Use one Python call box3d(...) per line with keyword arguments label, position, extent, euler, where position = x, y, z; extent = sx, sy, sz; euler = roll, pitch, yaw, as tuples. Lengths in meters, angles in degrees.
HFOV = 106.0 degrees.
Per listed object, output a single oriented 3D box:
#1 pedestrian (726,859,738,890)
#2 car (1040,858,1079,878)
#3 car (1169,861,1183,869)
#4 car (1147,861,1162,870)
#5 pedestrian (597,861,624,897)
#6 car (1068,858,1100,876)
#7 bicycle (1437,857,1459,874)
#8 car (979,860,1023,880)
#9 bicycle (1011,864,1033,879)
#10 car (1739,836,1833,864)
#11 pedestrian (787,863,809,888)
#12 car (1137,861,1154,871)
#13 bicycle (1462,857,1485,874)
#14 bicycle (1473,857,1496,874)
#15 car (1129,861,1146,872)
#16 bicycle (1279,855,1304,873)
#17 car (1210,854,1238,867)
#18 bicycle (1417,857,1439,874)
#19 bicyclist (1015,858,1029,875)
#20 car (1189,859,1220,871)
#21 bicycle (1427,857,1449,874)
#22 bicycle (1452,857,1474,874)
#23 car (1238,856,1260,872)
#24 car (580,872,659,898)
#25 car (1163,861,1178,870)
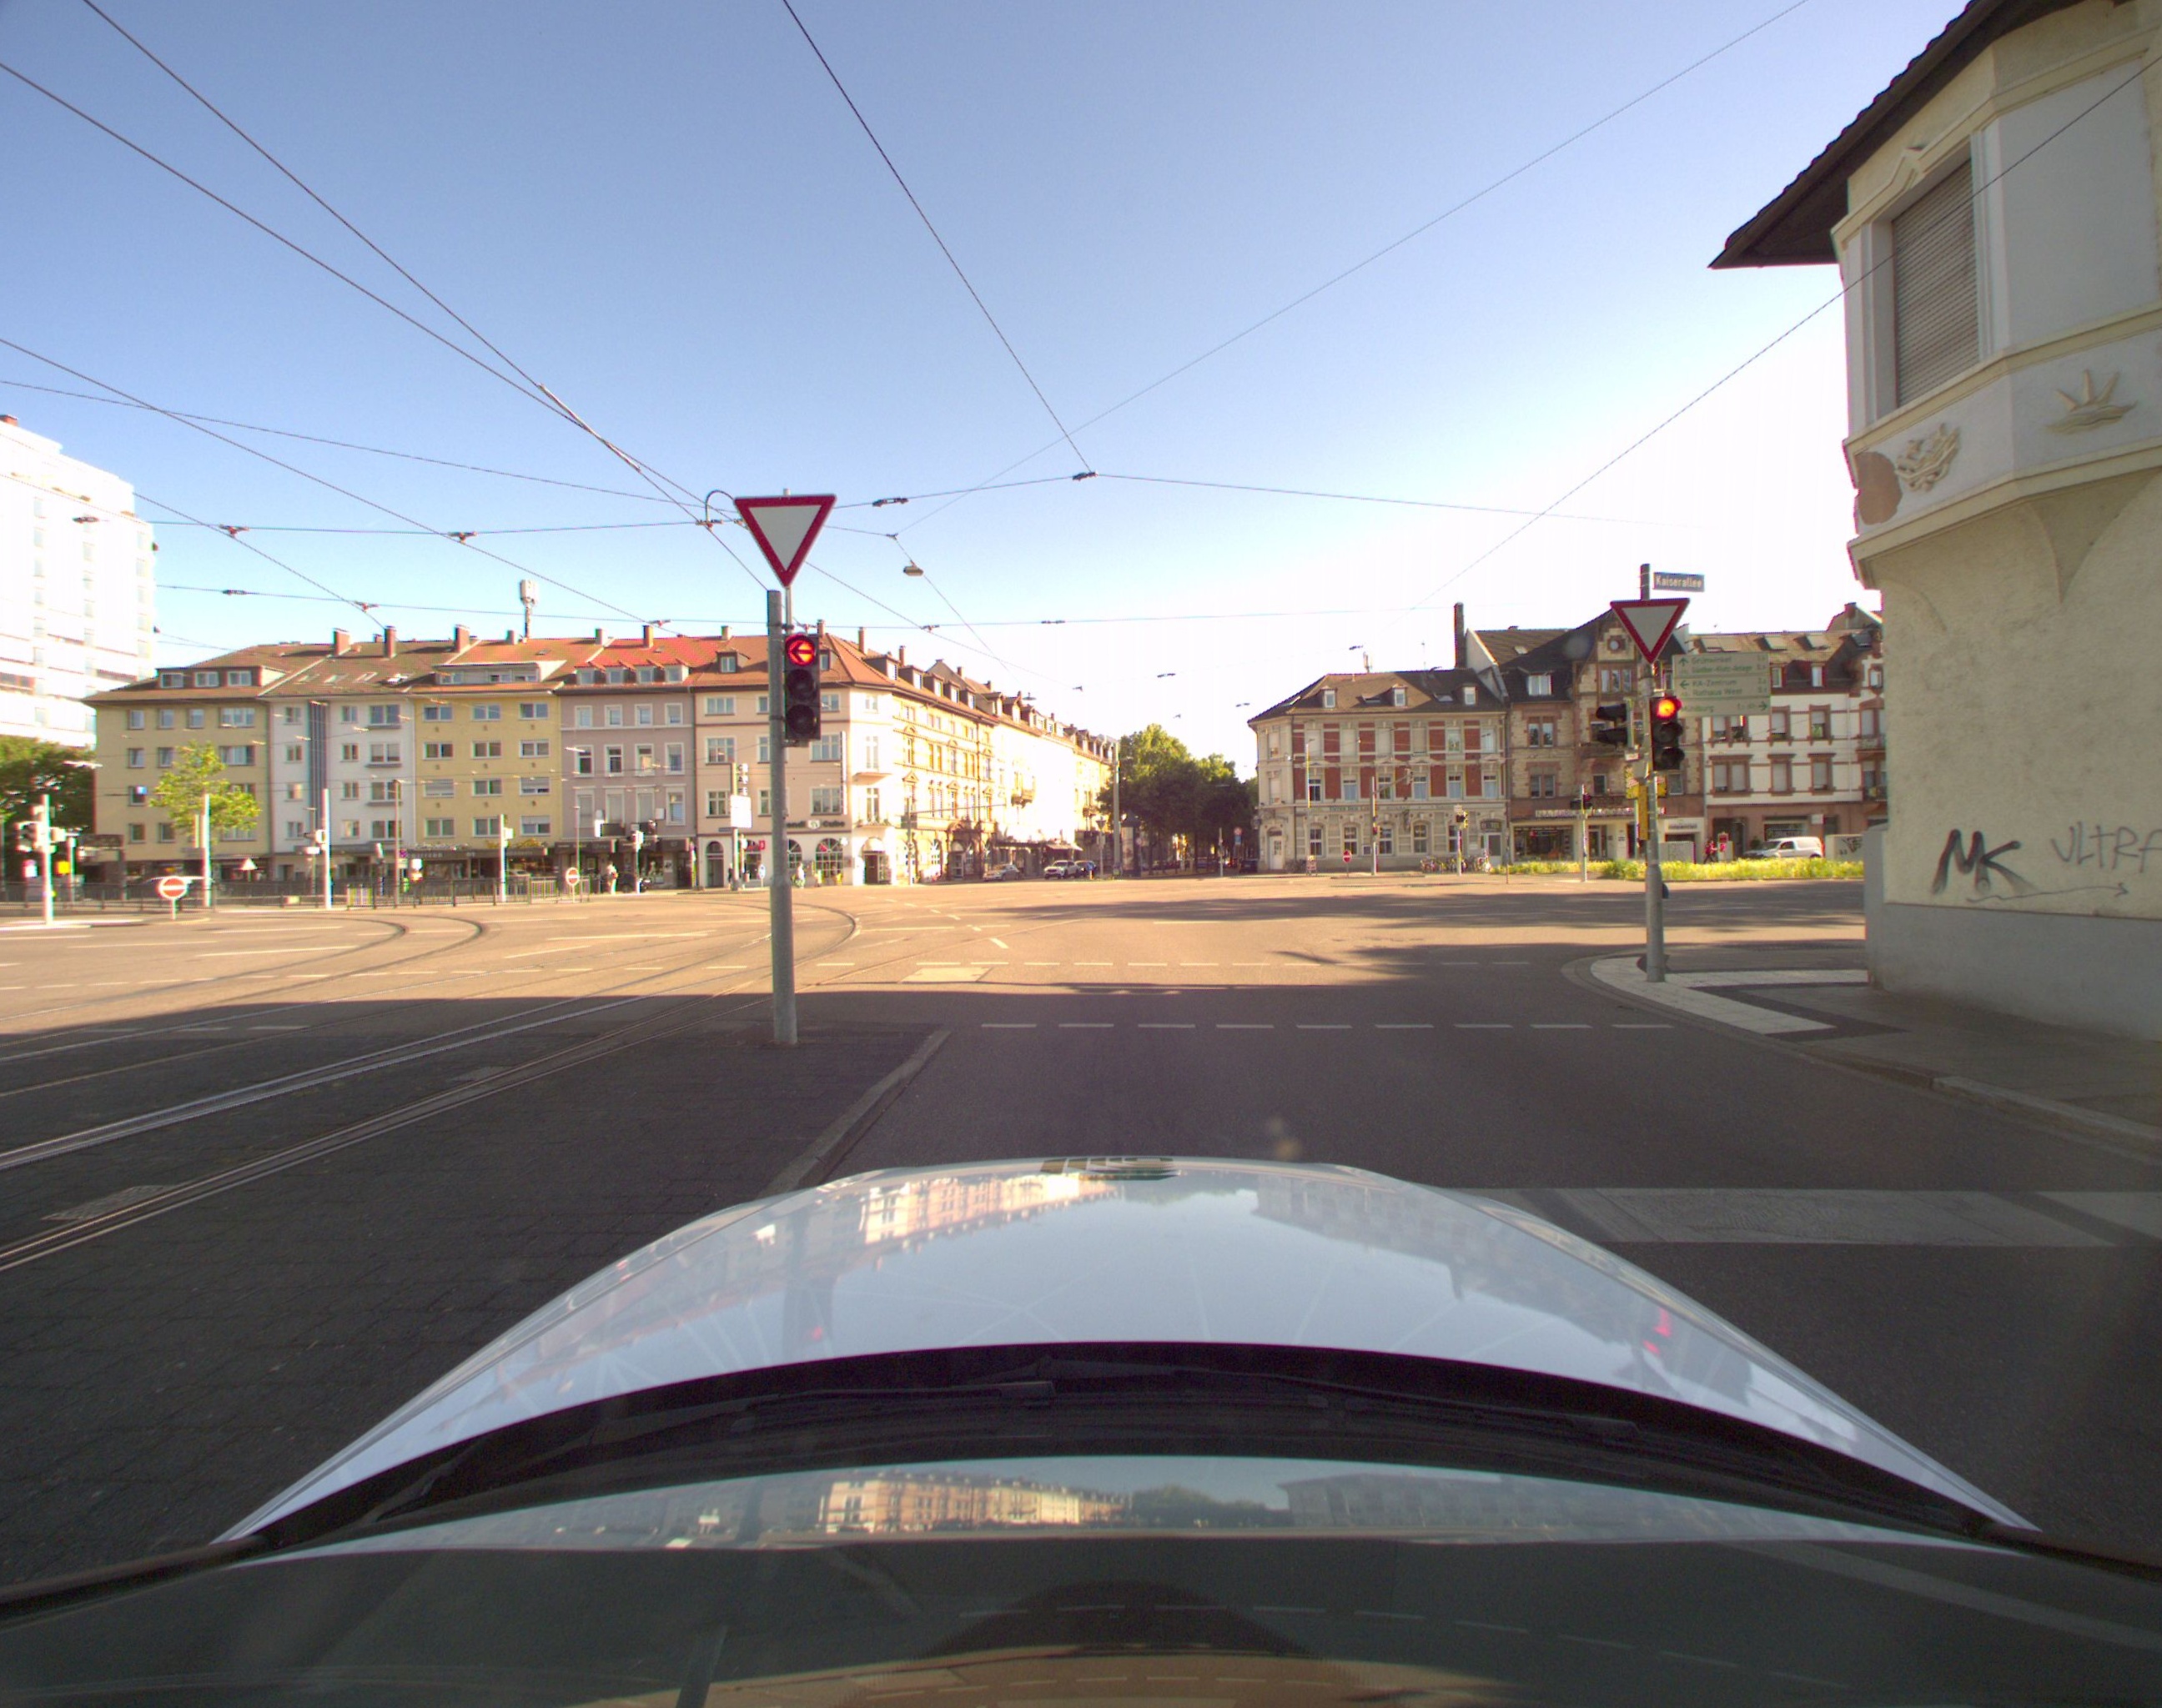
box3d(label="pedestrian", position=(-22.773, 1.357, 53.120), extent=(0.506, 2.013, 0.505), euler=(-1, 0, 5))
box3d(label="car", position=(-1.725, 1.163, 67.366), extent=(2.080, 1.499, 4.017), euler=(-1, 0, 16))
box3d(label="car", position=(15.872, 1.832, 136.200), extent=(1.728, 1.397, 4.141), euler=(1, 0, 16))
box3d(label="car", position=(11.071, 1.726, 122.706), extent=(1.729, 1.397, 4.137), euler=(1, 0, 12))
box3d(label="pedestrian", position=(-24.566, 1.310, 42.554), extent=(0.871, 1.818, 0.811), euler=(-1, 0, 2))
box3d(label="car", position=(0.297, 1.151, 73.689), extent=(1.979, 1.513, 4.015), euler=(-1, 0, 14))
box3d(label="bicycle", position=(23.818, 0.732, 52.866), extent=(0.603, 1.051, 1.641), euler=(-1, 0, -3))
box3d(label="car", position=(-6.592, 1.303, 67.696), extent=(2.080, 1.545, 4.382), euler=(-1, 0, 16))
box3d(label="bicycle", position=(-4.764, 1.430, 65.896), extent=(0.745, 1.135, 2.821), euler=(-1, 0, 16))
box3d(label="car", position=(45.389, -0.229, 52.467), extent=(4.356, 1.654, 1.999), euler=(-1, 0, -2))
box3d(label="pedestrian", position=(-18.999, 1.432, 54.647), extent=(1.060, 1.591, 1.043), euler=(-1, 0, 4))
box3d(label="car", position=(9.184, 1.684, 115.769), extent=(1.729, 1.397, 4.137), euler=(1, 0, 12))
box3d(label="bicycle", position=(25.319, 0.719, 52.615), extent=(0.603, 1.051, 1.641), euler=(-1, 0, -3))
box3d(label="bicycle", position=(26.058, 0.713, 52.608), extent=(0.603, 1.051, 1.641), euler=(-1, 0, -3))
box3d(label="car", position=(7.610, 1.649, 109.999), extent=(1.729, 1.397, 4.137), euler=(1, 0, 12))
box3d(label="bicycle", position=(14.701, 0.692, 56.936), extent=(1.625, 1.222, 0.609), euler=(-1, 0, 18))
box3d(label="car", position=(23.380, 1.085, 133.068), extent=(4.074, 1.919, 1.756), euler=(1, 0, 23))
box3d(label="bicycle", position=(22.501, 0.741, 52.835), extent=(0.603, 1.051, 1.641), euler=(-1, 0, -3))
box3d(label="bicyclist", position=(-4.761, 0.986, 65.868), extent=(0.787, 1.375, 1.113), euler=(-1, 0, 16))
box3d(label="car", position=(17.493, 1.524, 114.989), extent=(4.078, 1.646, 1.754), euler=(1, 0, 17))
box3d(label="bicycle", position=(23.154, 0.736, 52.866), extent=(0.603, 1.051, 1.641), euler=(-1, 0, -3))
box3d(label="bicycle", position=(24.644, 0.723, 52.565), extent=(0.603, 1.051, 1.641), euler=(-1, 0, -3))
box3d(label="car", position=(16.911, 0.991, 82.048), extent=(1.637, 1.524, 3.772), euler=(-2, -1, 20))
box3d(label="car", position=(-30.269, 1.991, 53.530), extent=(3.978, 1.464, 1.998), euler=(-2, 0, -4))
box3d(label="car", position=(14.449, 1.808, 131.453), extent=(1.728, 1.397, 4.141), euler=(1, 0, 16))
